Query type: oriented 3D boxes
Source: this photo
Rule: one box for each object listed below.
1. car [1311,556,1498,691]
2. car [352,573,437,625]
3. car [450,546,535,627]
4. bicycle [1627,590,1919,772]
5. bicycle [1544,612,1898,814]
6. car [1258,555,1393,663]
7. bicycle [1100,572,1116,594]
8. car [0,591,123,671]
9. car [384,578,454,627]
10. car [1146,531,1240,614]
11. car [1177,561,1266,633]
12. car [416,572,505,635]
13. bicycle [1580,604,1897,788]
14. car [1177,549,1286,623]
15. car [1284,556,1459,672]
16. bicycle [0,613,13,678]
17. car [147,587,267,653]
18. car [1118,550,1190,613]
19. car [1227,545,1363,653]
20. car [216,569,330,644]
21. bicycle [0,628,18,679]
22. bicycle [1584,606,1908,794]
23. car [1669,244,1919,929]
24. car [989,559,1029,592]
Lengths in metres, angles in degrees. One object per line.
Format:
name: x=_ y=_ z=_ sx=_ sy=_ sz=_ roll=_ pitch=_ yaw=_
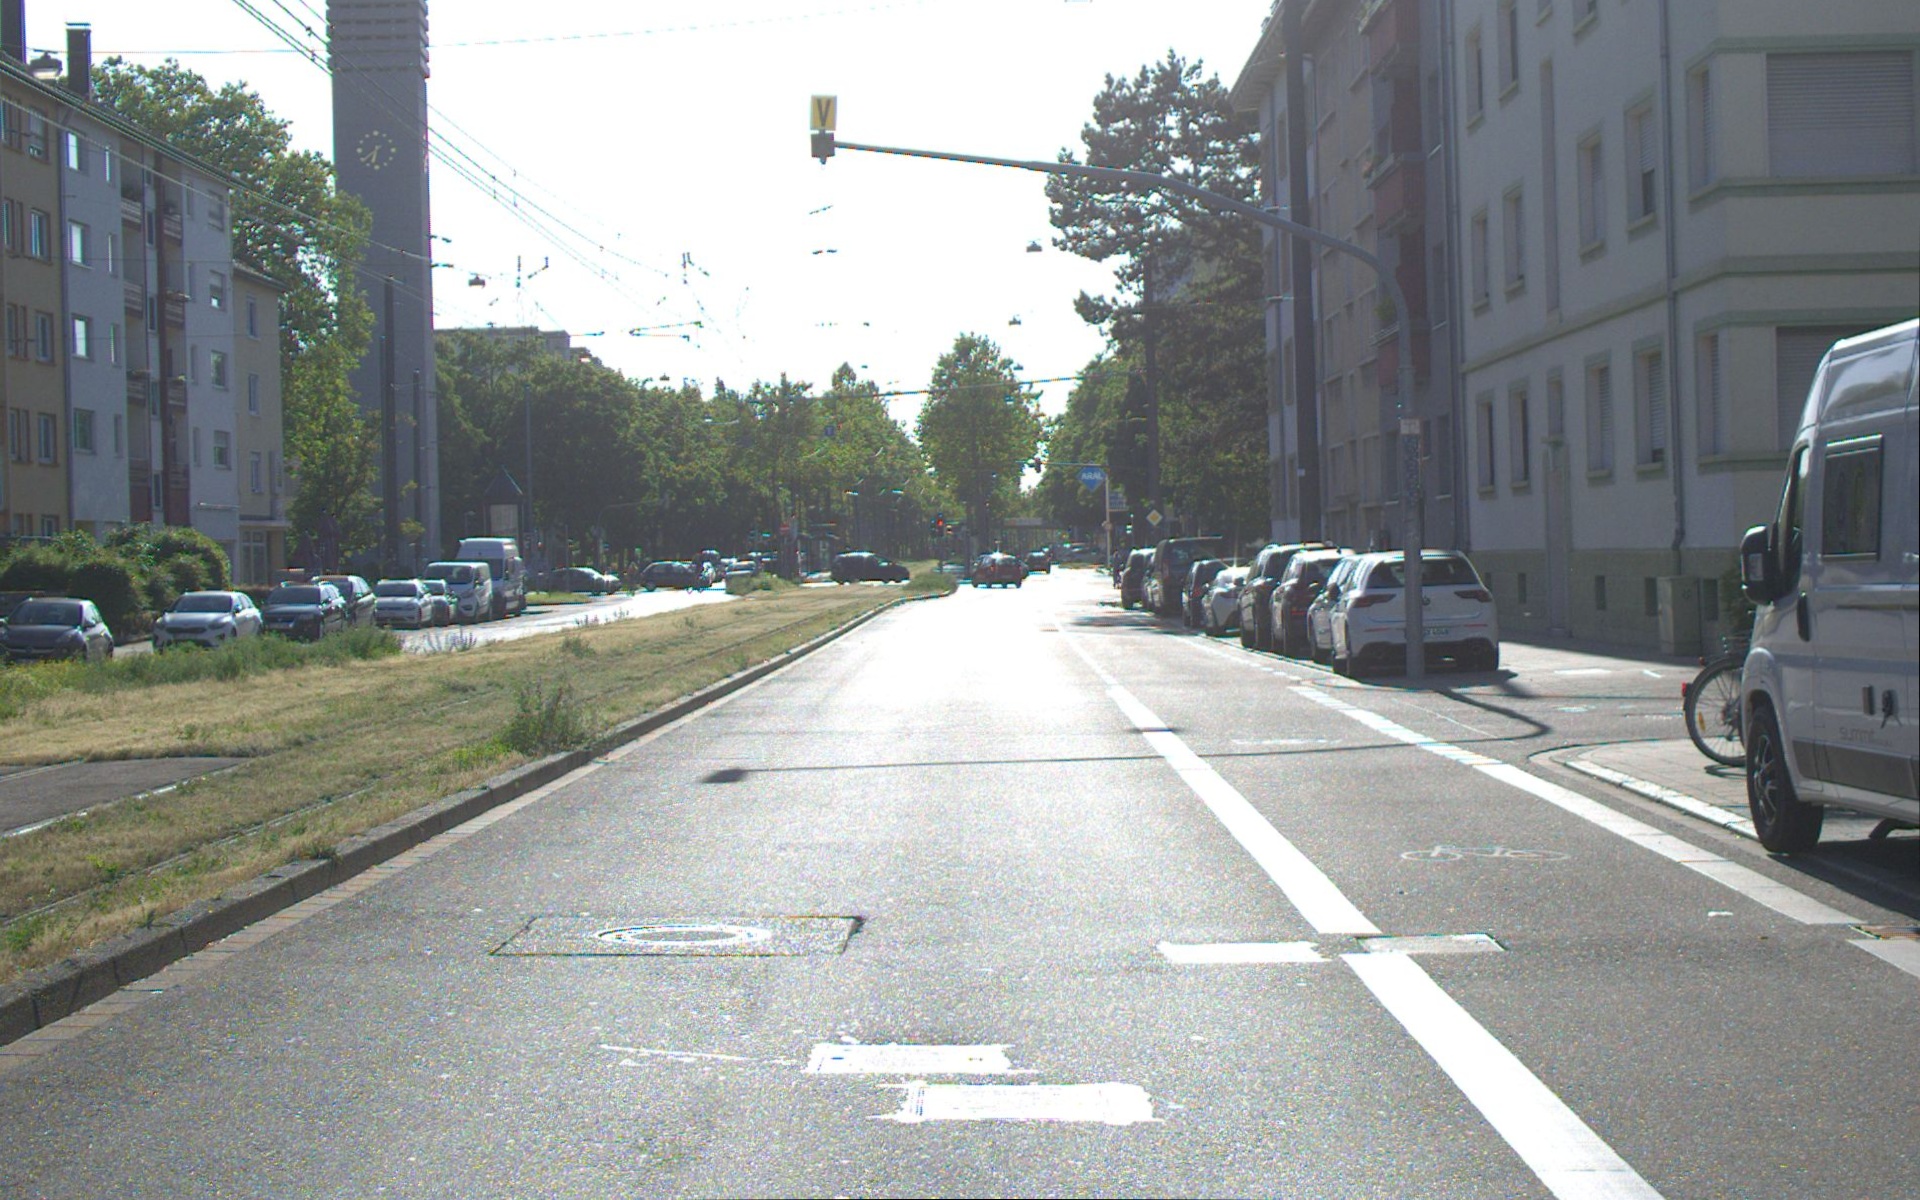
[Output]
car: x=5.275 y=0.235 z=41.273 sx=1.694 sy=1.453 sz=4.379 roll=-2 pitch=1 yaw=1
car: x=-17.119 y=-0.050 z=104.229 sx=1.892 sy=1.486 sz=4.704 roll=1 pitch=1 yaw=-1
car: x=-16.759 y=-0.511 z=123.584 sx=2.032 sy=2.859 sz=6.228 roll=0 pitch=1 yaw=2
bicycle: x=5.221 y=0.522 z=21.817 sx=1.916 sy=1.083 sz=0.473 roll=-3 pitch=2 yaw=44
bicycle: x=4.439 y=0.637 z=20.180 sx=2.027 sy=1.083 sz=0.485 roll=2 pitch=1 yaw=41
car: x=5.522 y=0.106 z=52.322 sx=1.635 sy=1.512 sz=4.188 roll=-2 pitch=1 yaw=1
bicycle: x=6.568 y=-0.746 z=152.370 sx=0.648 sy=0.969 sz=1.803 roll=1 pitch=1 yaw=4
car: x=-17.382 y=0.579 z=66.315 sx=1.635 sy=1.437 sz=3.734 roll=1 pitch=1 yaw=-2
car: x=-17.296 y=0.055 z=110.122 sx=1.694 sy=1.510 sz=4.327 roll=0 pitch=1 yaw=-2
car: x=5.867 y=-0.701 z=87.211 sx=1.913 sy=1.893 sz=5.135 roll=-4 pitch=1 yaw=0
car: x=5.752 y=-0.087 z=75.875 sx=1.635 sy=1.449 sz=3.789 roll=-4 pitch=1 yaw=1
car: x=-16.820 y=0.090 z=116.022 sx=2.032 sy=2.014 sz=5.370 roll=1 pitch=1 yaw=2
bicycle: x=4.831 y=0.602 z=21.436 sx=1.916 sy=1.083 sz=0.473 roll=-2 pitch=1 yaw=44
car: x=5.338 y=-0.291 z=68.026 sx=1.702 sy=1.271 sz=4.303 roll=-5 pitch=1 yaw=0
car: x=5.584 y=0.161 z=47.039 sx=1.635 sy=1.453 sz=4.082 roll=-2 pitch=1 yaw=-3
bicycle: x=-17.057 y=0.786 z=60.678 sx=0.509 sy=1.089 sz=1.936 roll=1 pitch=1 yaw=-11
car: x=-17.324 y=0.439 z=79.277 sx=1.728 sy=1.449 sz=4.376 roll=0 pitch=1 yaw=1
car: x=5.736 y=-0.571 z=102.231 sx=1.879 sy=1.711 sz=4.933 roll=-4 pitch=1 yaw=2
car: x=5.553 y=-0.043 z=57.415 sx=1.635 sy=1.642 sz=4.374 roll=-4 pitch=1 yaw=-2
car: x=-17.853 y=0.142 z=89.503 sx=1.993 sy=1.831 sz=4.609 roll=1 pitch=1 yaw=1
bicycle: x=-17.291 y=0.917 z=60.233 sx=1.584 sy=0.866 sz=0.417 roll=1 pitch=1 yaw=23
bicycle: x=4.712 y=0.615 z=20.711 sx=1.916 sy=1.083 sz=0.472 roll=-3 pitch=-3 yaw=44
car: x=4.836 y=-0.107 z=14.798 sx=2.151 sy=2.687 sz=6.292 roll=-3 pitch=1 yaw=0
car: x=2.241 y=-1.143 z=158.773 sx=1.694 sy=1.503 sz=3.699 roll=1 pitch=1 yaw=-1
